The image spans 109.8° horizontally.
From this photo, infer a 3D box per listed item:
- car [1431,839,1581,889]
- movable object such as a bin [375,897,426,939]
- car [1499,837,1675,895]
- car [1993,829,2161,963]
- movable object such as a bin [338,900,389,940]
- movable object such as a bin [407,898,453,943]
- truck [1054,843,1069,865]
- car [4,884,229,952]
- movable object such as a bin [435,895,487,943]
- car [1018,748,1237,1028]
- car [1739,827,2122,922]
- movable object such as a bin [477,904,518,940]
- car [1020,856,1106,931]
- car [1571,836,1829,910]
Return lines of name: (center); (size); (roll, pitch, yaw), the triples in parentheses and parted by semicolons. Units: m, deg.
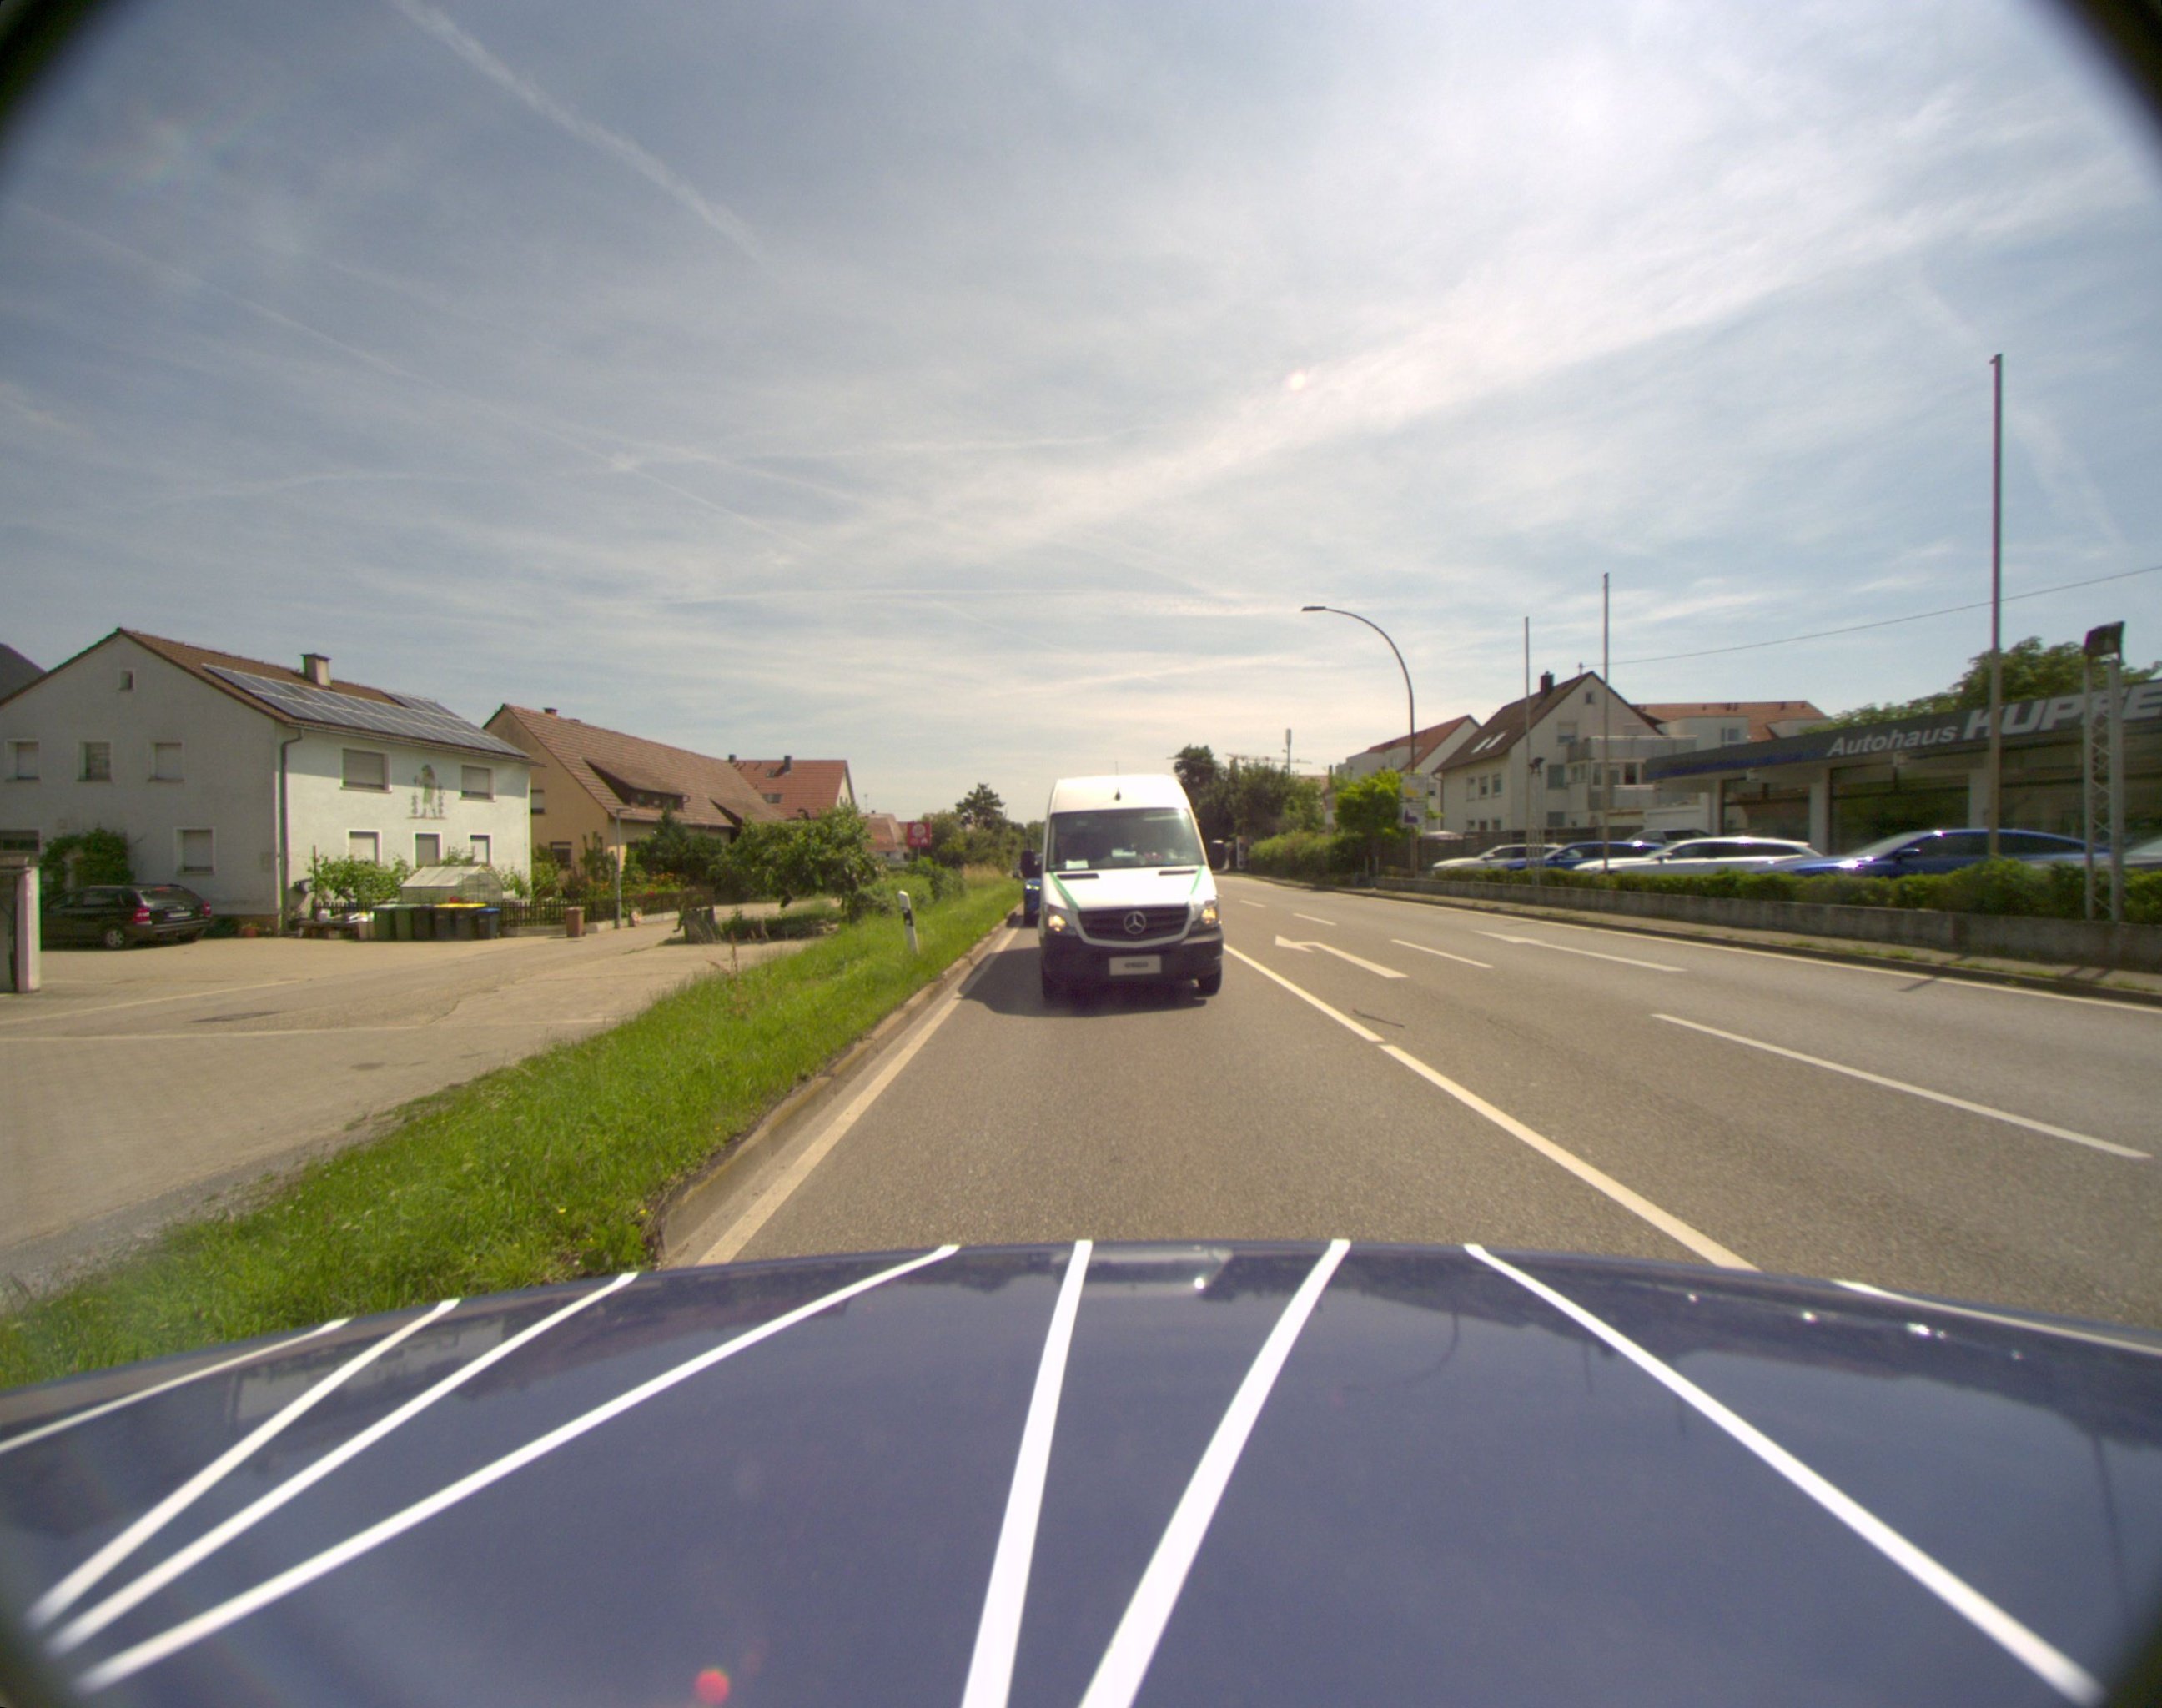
car: (14.313, 0.341, 25.816); (4.255, 1.521, 2.003); (-2, 0, 28)
movable object such as a bin: (-21.431, 2.009, 23.945); (0.745, 1.239, 0.889); (-2, 0, 1)
car: (14.309, 0.342, 21.803); (3.990, 1.455, 2.003); (-2, 0, 28)
car: (14.534, 0.427, 9.077); (4.250, 1.536, 1.853); (-2, 0, 24)
movable object such as a bin: (-22.367, 2.052, 23.715); (0.740, 1.149, 0.830); (-2, 0, 1)
movable object such as a bin: (-20.509, 2.087, 23.946); (0.678, 1.330, 0.820); (-2, 0, 1)
truck: (-3.517, -0.076, 138.581); (2.506, 3.848, 5.496); (-2, 0, -2)
car: (-26.965, 1.759, 21.336); (3.997, 1.724, 1.828); (0, 1, 1)
movable object such as a bin: (-19.227, 2.002, 23.576); (0.765, 1.362, 0.946); (-2, 0, 1)
car: (0.489, 0.323, 10.039); (1.977, 2.584, 5.634); (-2, 0, 1)
car: (14.268, 0.366, 13.151); (3.990, 1.433, 1.857); (-2, 0, 26)
movable object such as a bin: (-18.169, 2.115, 23.672); (0.645, 1.021, 0.756); (-2, 0, 1)
car: (-0.362, 0.868, 18.427); (1.824, 1.574, 3.902); (-1, 0, 1)
car: (13.982, 0.439, 17.560); (4.302, 1.510, 2.003); (-2, 0, 29)
